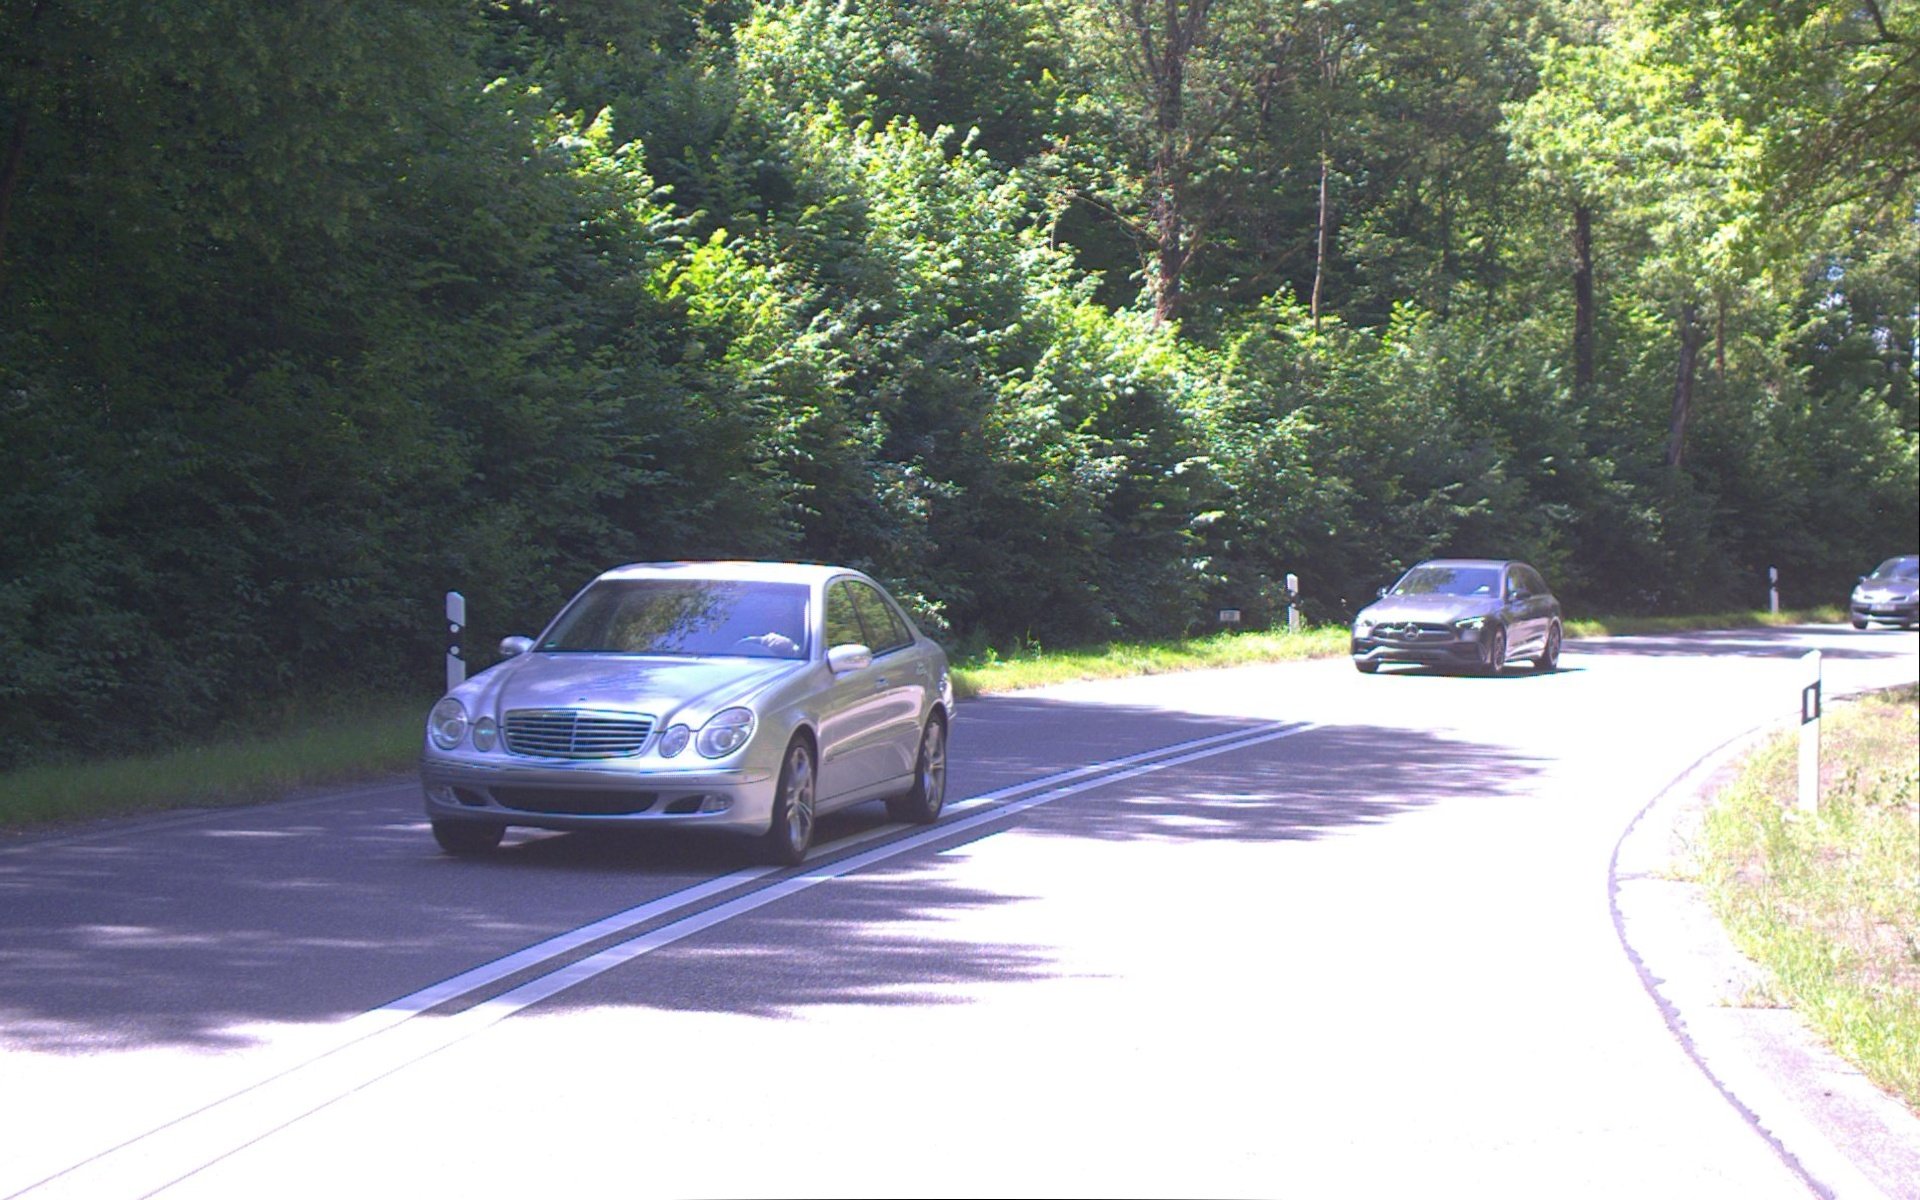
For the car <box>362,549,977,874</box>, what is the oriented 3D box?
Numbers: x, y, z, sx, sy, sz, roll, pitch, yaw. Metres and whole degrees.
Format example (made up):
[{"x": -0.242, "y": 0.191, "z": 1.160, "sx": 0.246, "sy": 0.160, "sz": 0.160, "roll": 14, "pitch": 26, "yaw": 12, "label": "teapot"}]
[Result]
[{"x": -1.348, "y": 0.506, "z": 18.185, "sx": 1.847, "sy": 1.481, "sz": 4.762, "roll": 0, "pitch": 0, "yaw": 13, "label": "car"}]

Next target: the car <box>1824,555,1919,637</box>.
[{"x": 18.948, "y": -0.084, "z": 68.353, "sx": 3.884, "sy": 1.568, "sz": 1.682, "roll": 0, "pitch": 0, "yaw": -45, "label": "car"}]

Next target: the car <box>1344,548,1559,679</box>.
[{"x": 6.356, "y": 0.154, "z": 44.085, "sx": 1.758, "sy": 1.568, "sz": 4.362, "roll": 1, "pitch": 1, "yaw": 21, "label": "car"}]
